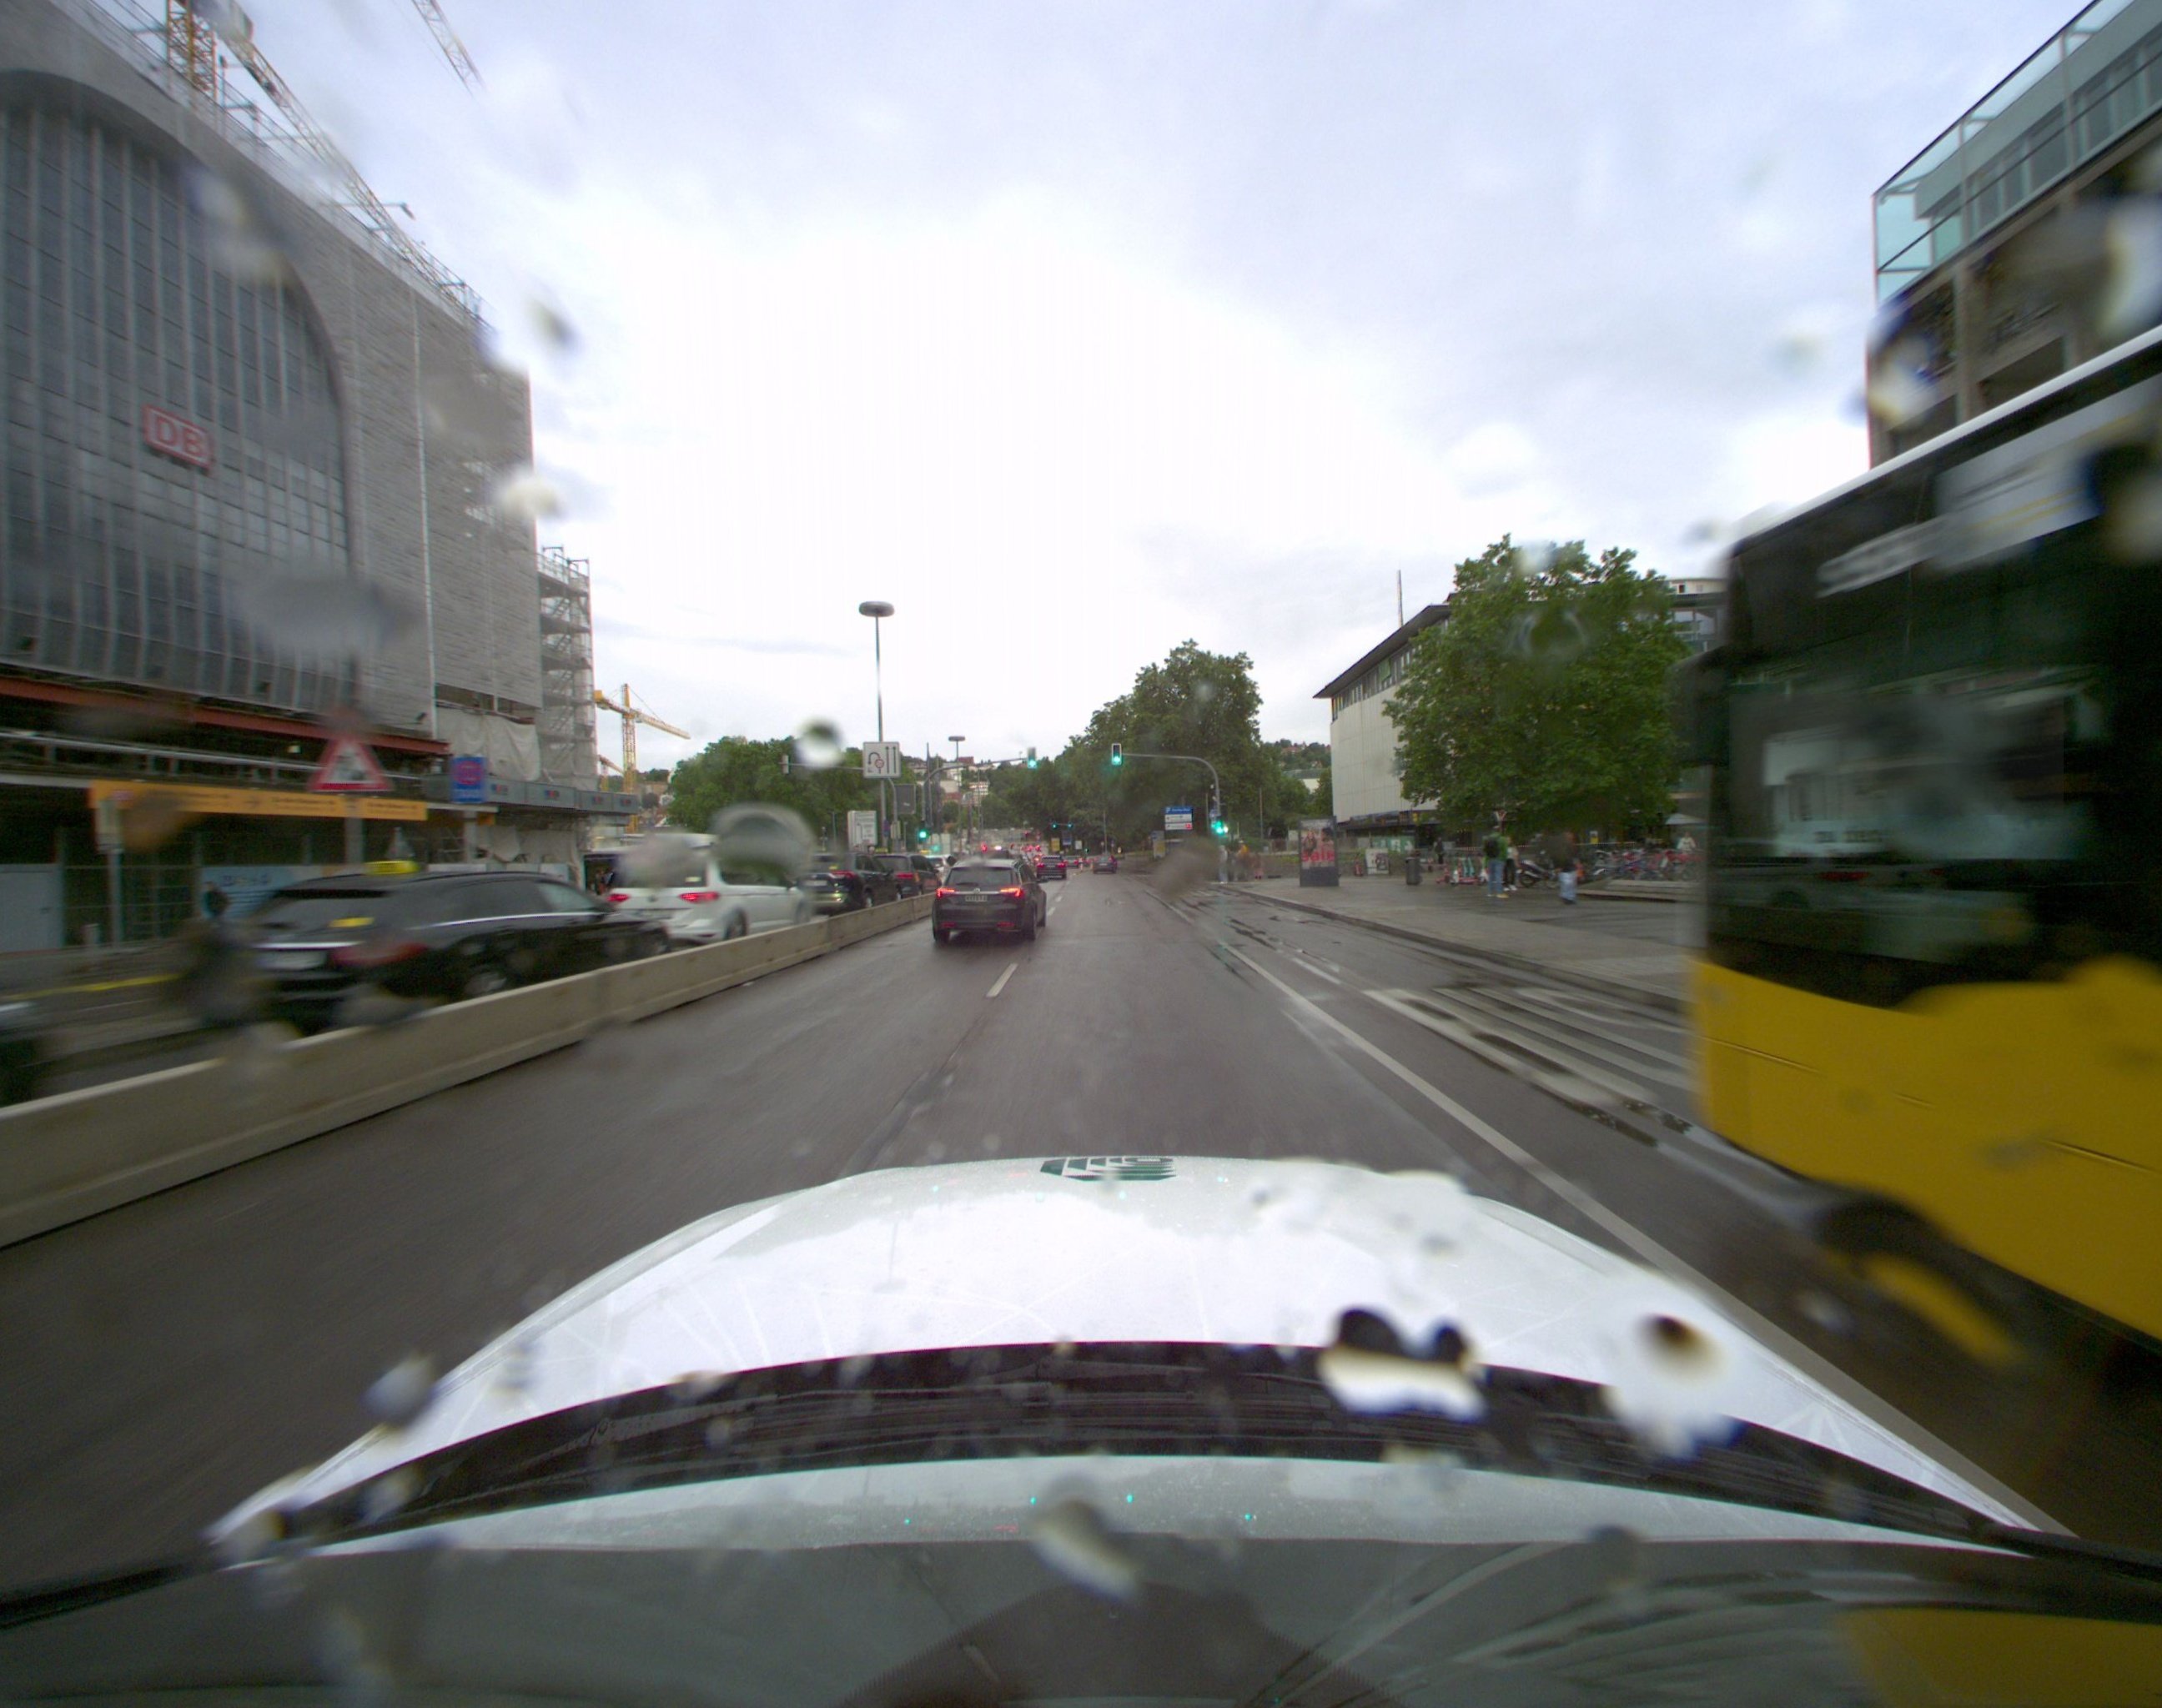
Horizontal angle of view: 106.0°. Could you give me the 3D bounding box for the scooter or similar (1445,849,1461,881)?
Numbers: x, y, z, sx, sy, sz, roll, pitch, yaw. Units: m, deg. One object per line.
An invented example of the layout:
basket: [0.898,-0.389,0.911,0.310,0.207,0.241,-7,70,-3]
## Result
scooter or similar: [13.462,0.395,29.468,0.433,1.129,1.374,1,1,27]

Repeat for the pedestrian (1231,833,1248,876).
pedestrian: [8.096,-0.003,41.586,0.703,2.145,0.724,-3,0,13]

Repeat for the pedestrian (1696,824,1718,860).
pedestrian: [27.078,-0.533,35.231,0.663,1.523,0.787,-3,0,41]

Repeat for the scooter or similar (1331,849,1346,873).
scooter or similar: [13.346,0.354,42.226,0.350,1.217,1.158,-1,0,0]

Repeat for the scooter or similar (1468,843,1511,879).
scooter or similar: [14.897,0.240,29.687,1.304,1.256,0.590,-1,0,-13]

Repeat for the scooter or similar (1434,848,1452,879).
scooter or similar: [14.348,0.390,32.310,0.304,1.207,0.957,-1,0,3]

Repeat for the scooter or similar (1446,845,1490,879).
scooter or similar: [14.578,0.303,30.687,0.573,1.231,1.353,-1,-1,-44]

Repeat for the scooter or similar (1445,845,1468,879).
scooter or similar: [14.834,0.315,32.189,0.367,1.281,1.174,-1,0,3]

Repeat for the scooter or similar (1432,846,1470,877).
scooter or similar: [15.309,0.325,33.706,1.348,1.250,0.441,-1,-1,32]

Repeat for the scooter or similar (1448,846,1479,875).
scooter or similar: [15.979,0.274,34.039,1.084,1.217,0.479,-1,-1,32]

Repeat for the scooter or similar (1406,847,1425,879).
scooter or similar: [13.456,0.353,32.747,0.323,1.237,1.100,-1,0,3]

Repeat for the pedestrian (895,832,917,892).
pedestrian: [-6.012,0.270,28.013,0.526,2.013,0.890,-2,0,0]

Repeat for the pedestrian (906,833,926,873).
pedestrian: [-8.009,-0.049,39.438,0.829,1.886,0.689,-2,2,-8]

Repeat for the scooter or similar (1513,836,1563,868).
scooter or similar: [18.685,-0.059,33.322,0.622,1.260,1.737,-1,0,-25]

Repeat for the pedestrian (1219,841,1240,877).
pedestrian: [7.263,0.231,39.857,0.872,1.691,0.758,-2,0,1]

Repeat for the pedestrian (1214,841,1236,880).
pedestrian: [6.771,0.297,38.352,0.746,1.804,0.706,-2,0,-13]

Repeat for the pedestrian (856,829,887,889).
pedestrian: [-7.130,0.163,27.683,0.825,2.013,0.627,-2,0,44]

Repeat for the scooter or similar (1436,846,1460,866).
scooter or similar: [20.058,0.121,44.545,0.476,1.035,1.311,-3,0,-11]

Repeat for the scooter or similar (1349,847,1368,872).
scooter or similar: [14.515,0.276,42.612,0.373,1.259,1.311,-1,0,-10]

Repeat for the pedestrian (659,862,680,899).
pedestrian: [-20.604,1.328,40.819,0.695,1.841,0.528,-2,0,0]

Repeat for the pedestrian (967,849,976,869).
pedestrian: [-9.751,0.436,72.488,0.632,1.753,0.823,-1,0,4]

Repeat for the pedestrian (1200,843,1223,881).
pedestrian: [6.599,0.405,41.200,0.787,1.838,0.946,-2,0,-13]

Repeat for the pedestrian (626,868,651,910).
pedestrian: [-19.843,1.548,36.540,0.636,1.841,0.775,-2,0,-1]

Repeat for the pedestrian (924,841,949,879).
pedestrian: [-7.377,0.316,41.610,0.995,1.886,0.687,-2,0,24]

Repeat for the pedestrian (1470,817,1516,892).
pedestrian: [10.969,0.010,21.708,0.706,1.932,0.787,-2,0,-8]

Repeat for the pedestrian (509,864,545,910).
pedestrian: [-23.259,1.365,34.188,0.724,1.841,0.994,-2,0,1]

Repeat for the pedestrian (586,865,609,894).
pedestrian: [-31.860,1.665,53.640,1.025,1.881,0.833,-3,-1,-11]

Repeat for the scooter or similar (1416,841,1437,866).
scooter or similar: [18.777,-0.007,44.307,0.409,1.332,1.311,-1,0,-10]

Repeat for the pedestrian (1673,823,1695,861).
pedestrian: [26.491,-0.532,35.759,0.638,1.601,0.620,-5,-2,41]

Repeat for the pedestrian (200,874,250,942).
pedestrian: [-24.026,1.512,22.867,0.534,1.841,0.770,-2,0,-4]

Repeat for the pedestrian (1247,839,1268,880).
pedestrian: [8.072,0.257,37.303,0.542,1.804,0.751,-2,0,-26]

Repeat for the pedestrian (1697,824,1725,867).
pedestrian: [25.229,-0.333,32.611,0.785,1.674,0.894,-1,-1,43]

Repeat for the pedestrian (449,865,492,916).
pedestrian: [-22.725,1.341,30.320,0.815,1.841,0.937,-2,0,1]

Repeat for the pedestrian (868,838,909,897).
pedestrian: [-6.747,0.479,28.586,0.825,2.013,1.034,-2,0,39]

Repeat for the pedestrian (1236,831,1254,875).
pedestrian: [8.165,-0.041,40.525,0.554,2.146,0.665,-2,0,-13]
